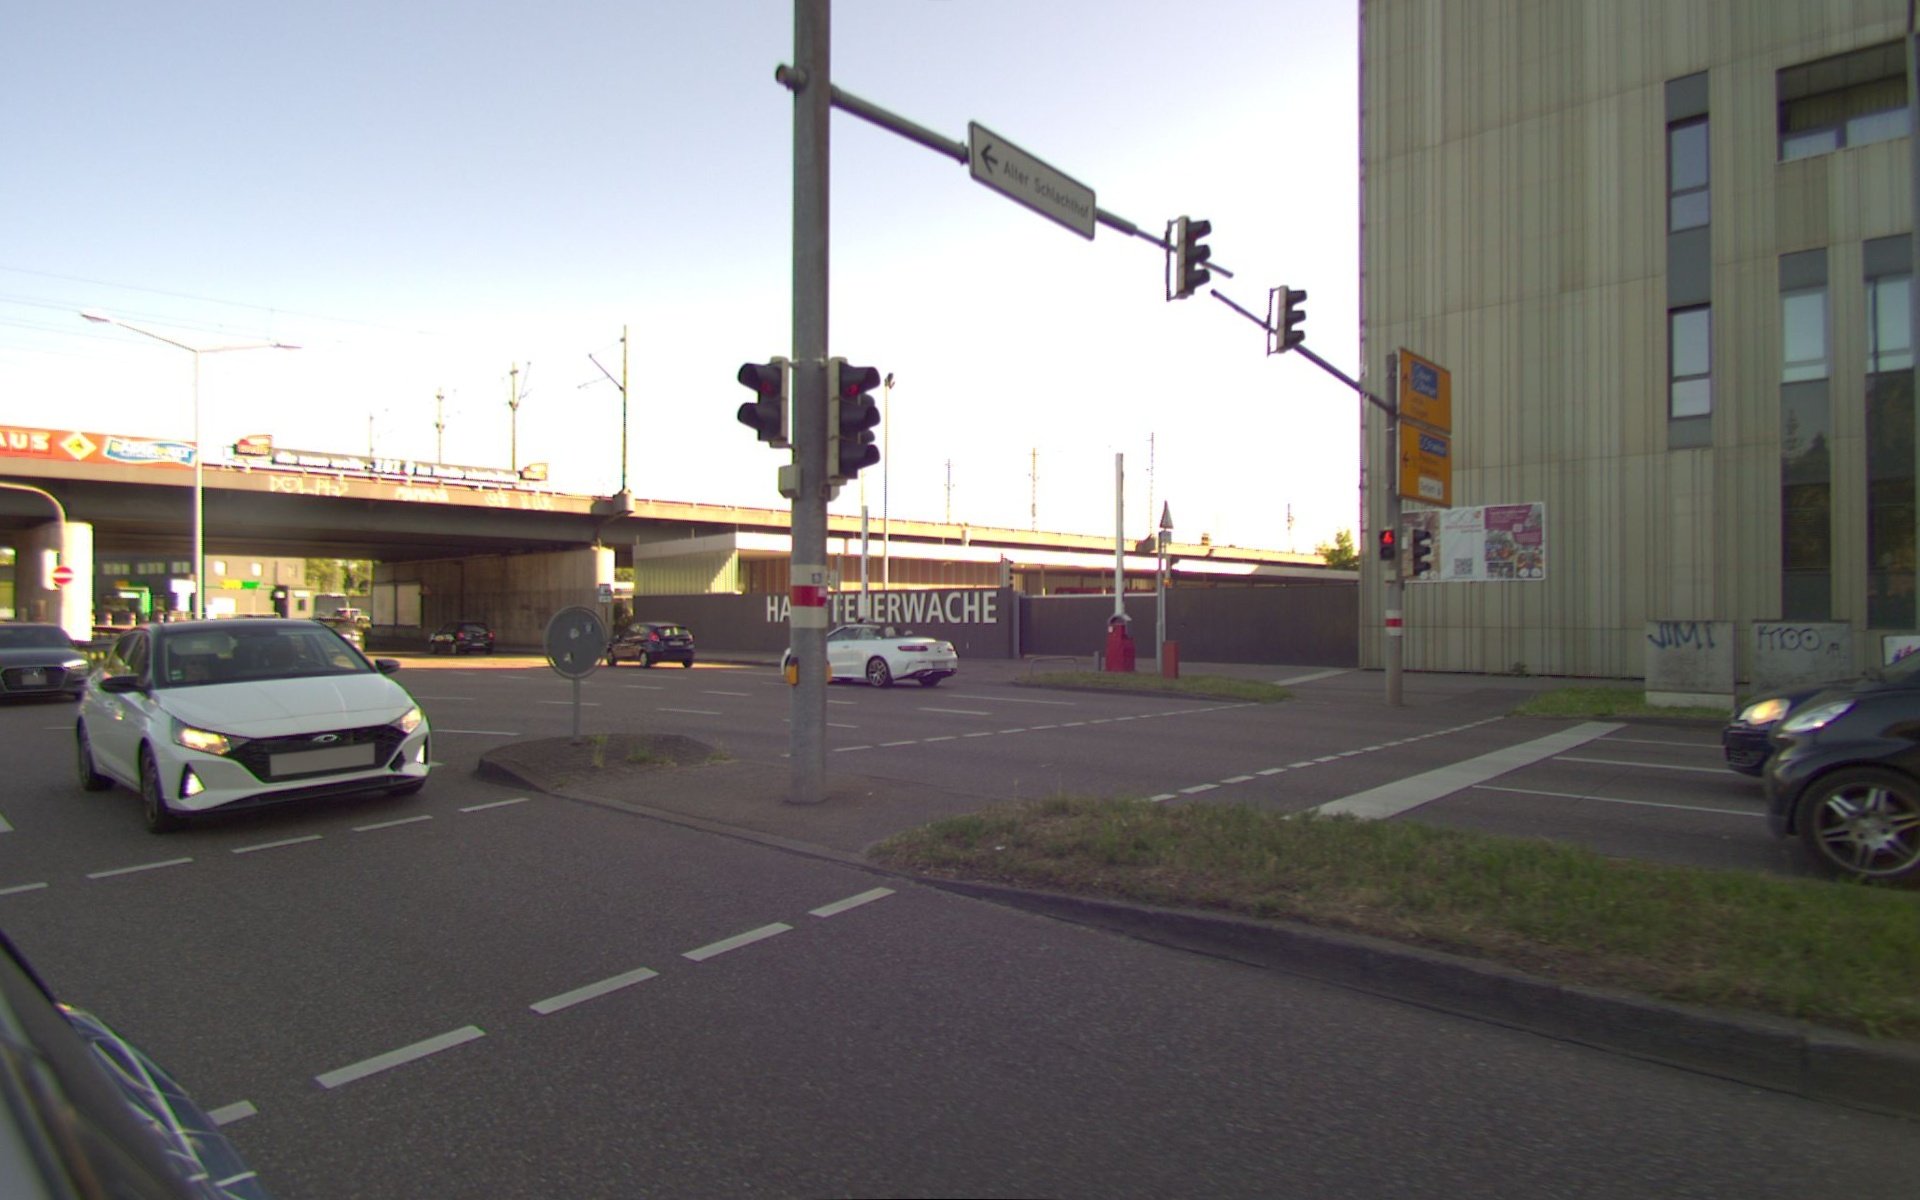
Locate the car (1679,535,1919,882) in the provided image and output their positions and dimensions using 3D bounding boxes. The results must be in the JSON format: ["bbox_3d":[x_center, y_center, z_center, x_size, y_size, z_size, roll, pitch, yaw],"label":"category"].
[{"bbox_3d":[5.456,0.506,4.765,3.212,1.592,1.584,-1,-2,42],"label":"car"}]

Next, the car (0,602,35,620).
[{"bbox_3d":[-92.179,1.073,97.900,3.844,1.667,1.724,-1,1,-45],"label":"car"}]

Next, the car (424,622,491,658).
[{"bbox_3d":[-22.570,1.785,45.437,3.425,1.544,1.550,-1,-1,41],"label":"car"}]

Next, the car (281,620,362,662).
[{"bbox_3d":[-24.759,1.581,39.205,3.999,1.552,1.610,-1,-3,42],"label":"car"}]

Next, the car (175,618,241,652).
[{"bbox_3d":[-36.439,1.694,48.999,3.998,1.552,1.705,-1,-3,41],"label":"car"}]

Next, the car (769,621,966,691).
[{"bbox_3d":[-2.241,1.229,23.518,4.878,1.452,1.685,-1,-2,41],"label":"car"}]

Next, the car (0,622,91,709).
[{"bbox_3d":[-17.253,1.118,18.331,4.362,1.415,1.680,-1,-1,41],"label":"car"}]

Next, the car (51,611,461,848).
[{"bbox_3d":[-5.837,0.836,8.201,4.072,1.419,1.760,-1,0,41],"label":"car"}]

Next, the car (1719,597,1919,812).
[{"bbox_3d":[7.617,0.708,6.957,3.750,1.452,1.685,-2,-3,40],"label":"car"}]

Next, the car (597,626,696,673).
[{"bbox_3d":[-10.246,1.554,32.922,1.472,1.422,3.941,1,-2,-44],"label":"car"}]
